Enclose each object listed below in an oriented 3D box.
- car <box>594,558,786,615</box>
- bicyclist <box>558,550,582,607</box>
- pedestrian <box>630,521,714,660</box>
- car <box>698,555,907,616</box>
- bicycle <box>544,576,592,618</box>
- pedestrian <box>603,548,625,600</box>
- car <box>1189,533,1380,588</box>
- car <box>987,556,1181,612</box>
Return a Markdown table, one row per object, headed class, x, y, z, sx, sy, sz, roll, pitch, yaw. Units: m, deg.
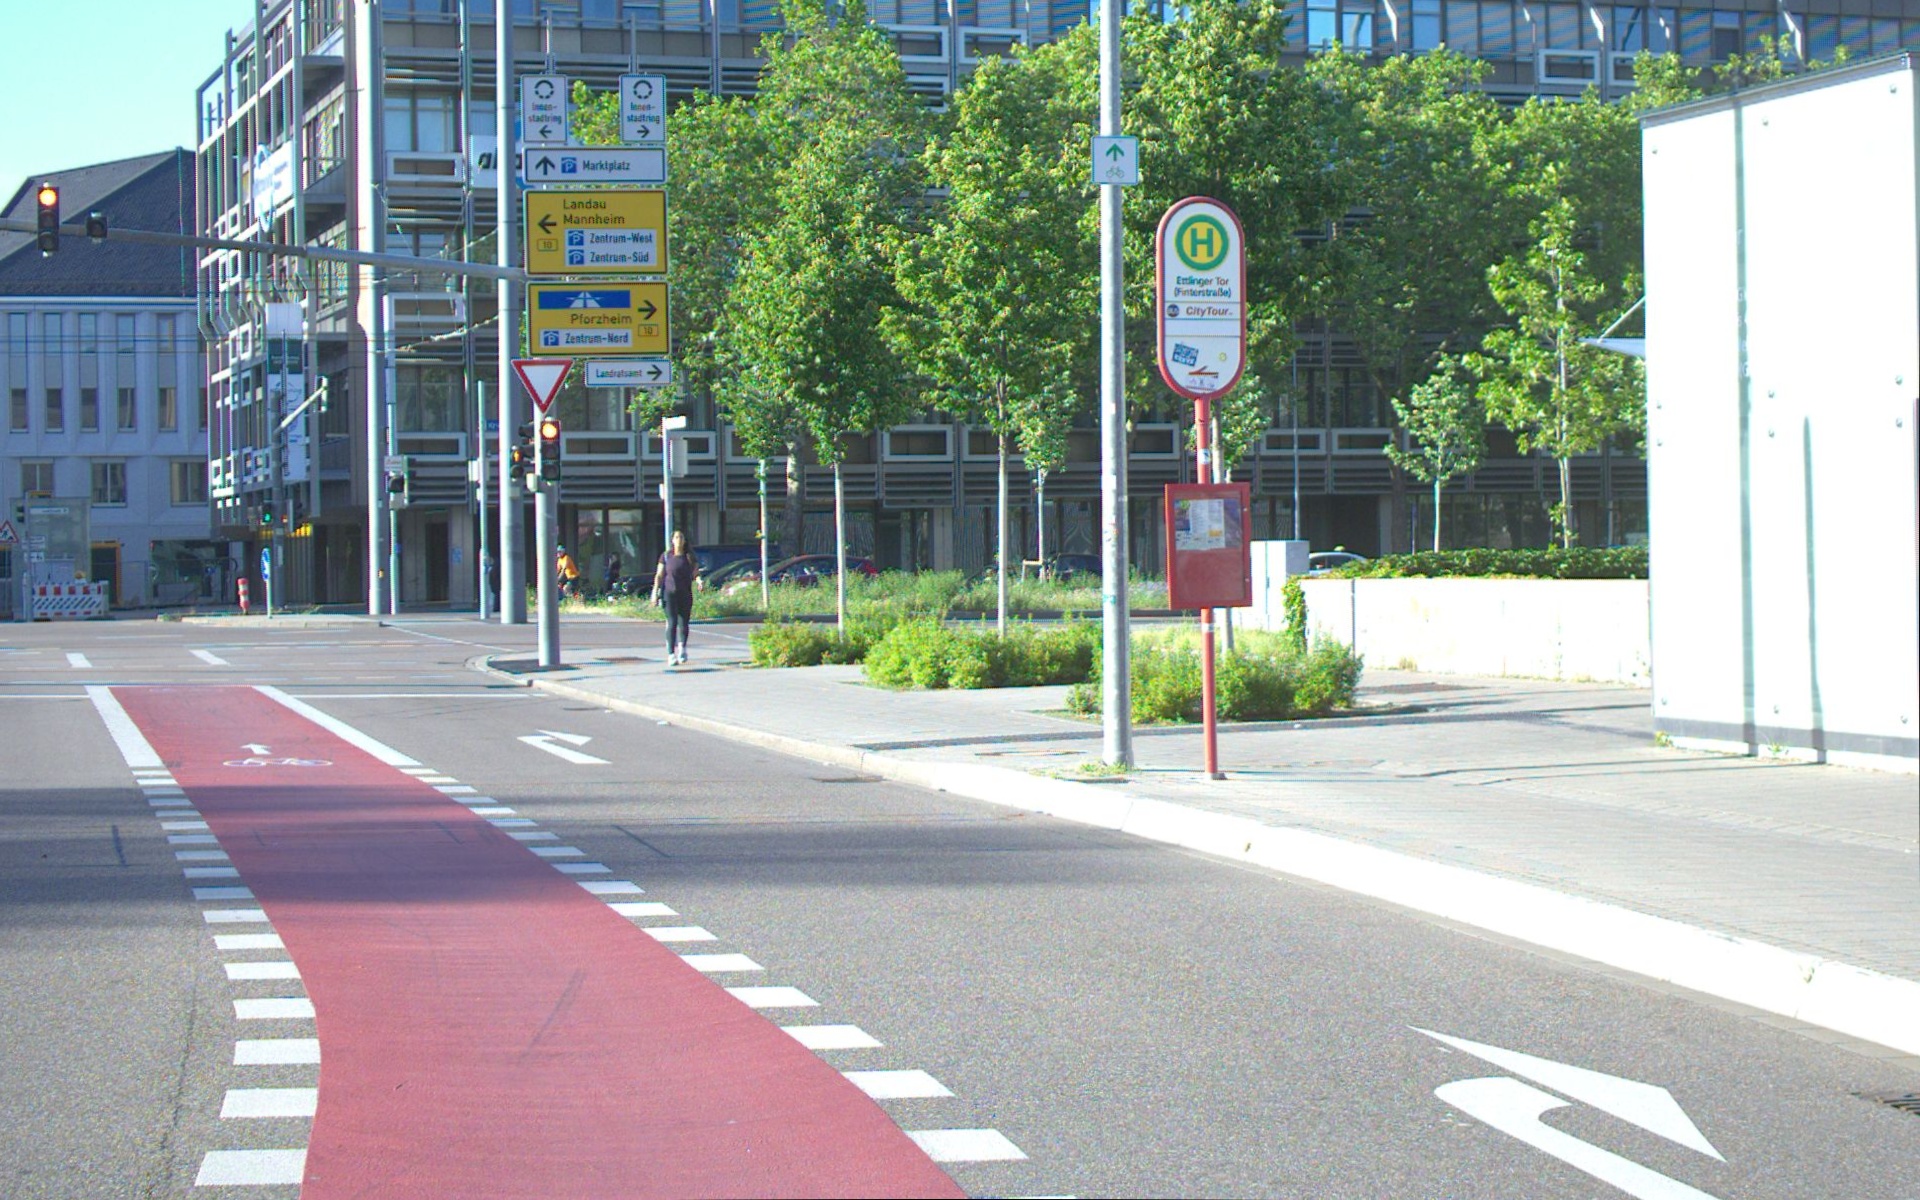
| class | x | y | z | sx | sy | sz | roll | pitch | yaw |
| --- | --- | --- | --- | --- | --- | --- | --- | --- | --- |
| car | -7.015 | -0.365 | 89.273 | 4.629 | 1.351 | 2.001 | -1 | 2 | -18 |
| bicyclist | -9.279 | -0.508 | 81.818 | 0.508 | 1.334 | 0.453 | -1 | 1 | -12 |
| pedestrian | -3.682 | -0.126 | 43.959 | 0.822 | 1.742 | 1.041 | -2 | 1 | 7 |
| car | -3.777 | -0.368 | 82.210 | 4.629 | 1.351 | 2.001 | -1 | 2 | -18 |
| bicycle | -9.324 | -0.072 | 81.807 | 1.076 | 0.967 | 0.458 | -1 | 1 | -12 |
| pedestrian | -10.132 | -0.763 | 100.559 | 0.622 | 1.513 | 0.653 | -1 | 1 | -6 |
| car | 8.564 | -1.058 | 90.829 | 4.629 | 1.351 | 2.001 | -1 | 2 | -18 |
| car | 3.224 | -0.422 | 89.475 | 4.629 | 1.351 | 2.001 | -1 | 2 | -18 |
